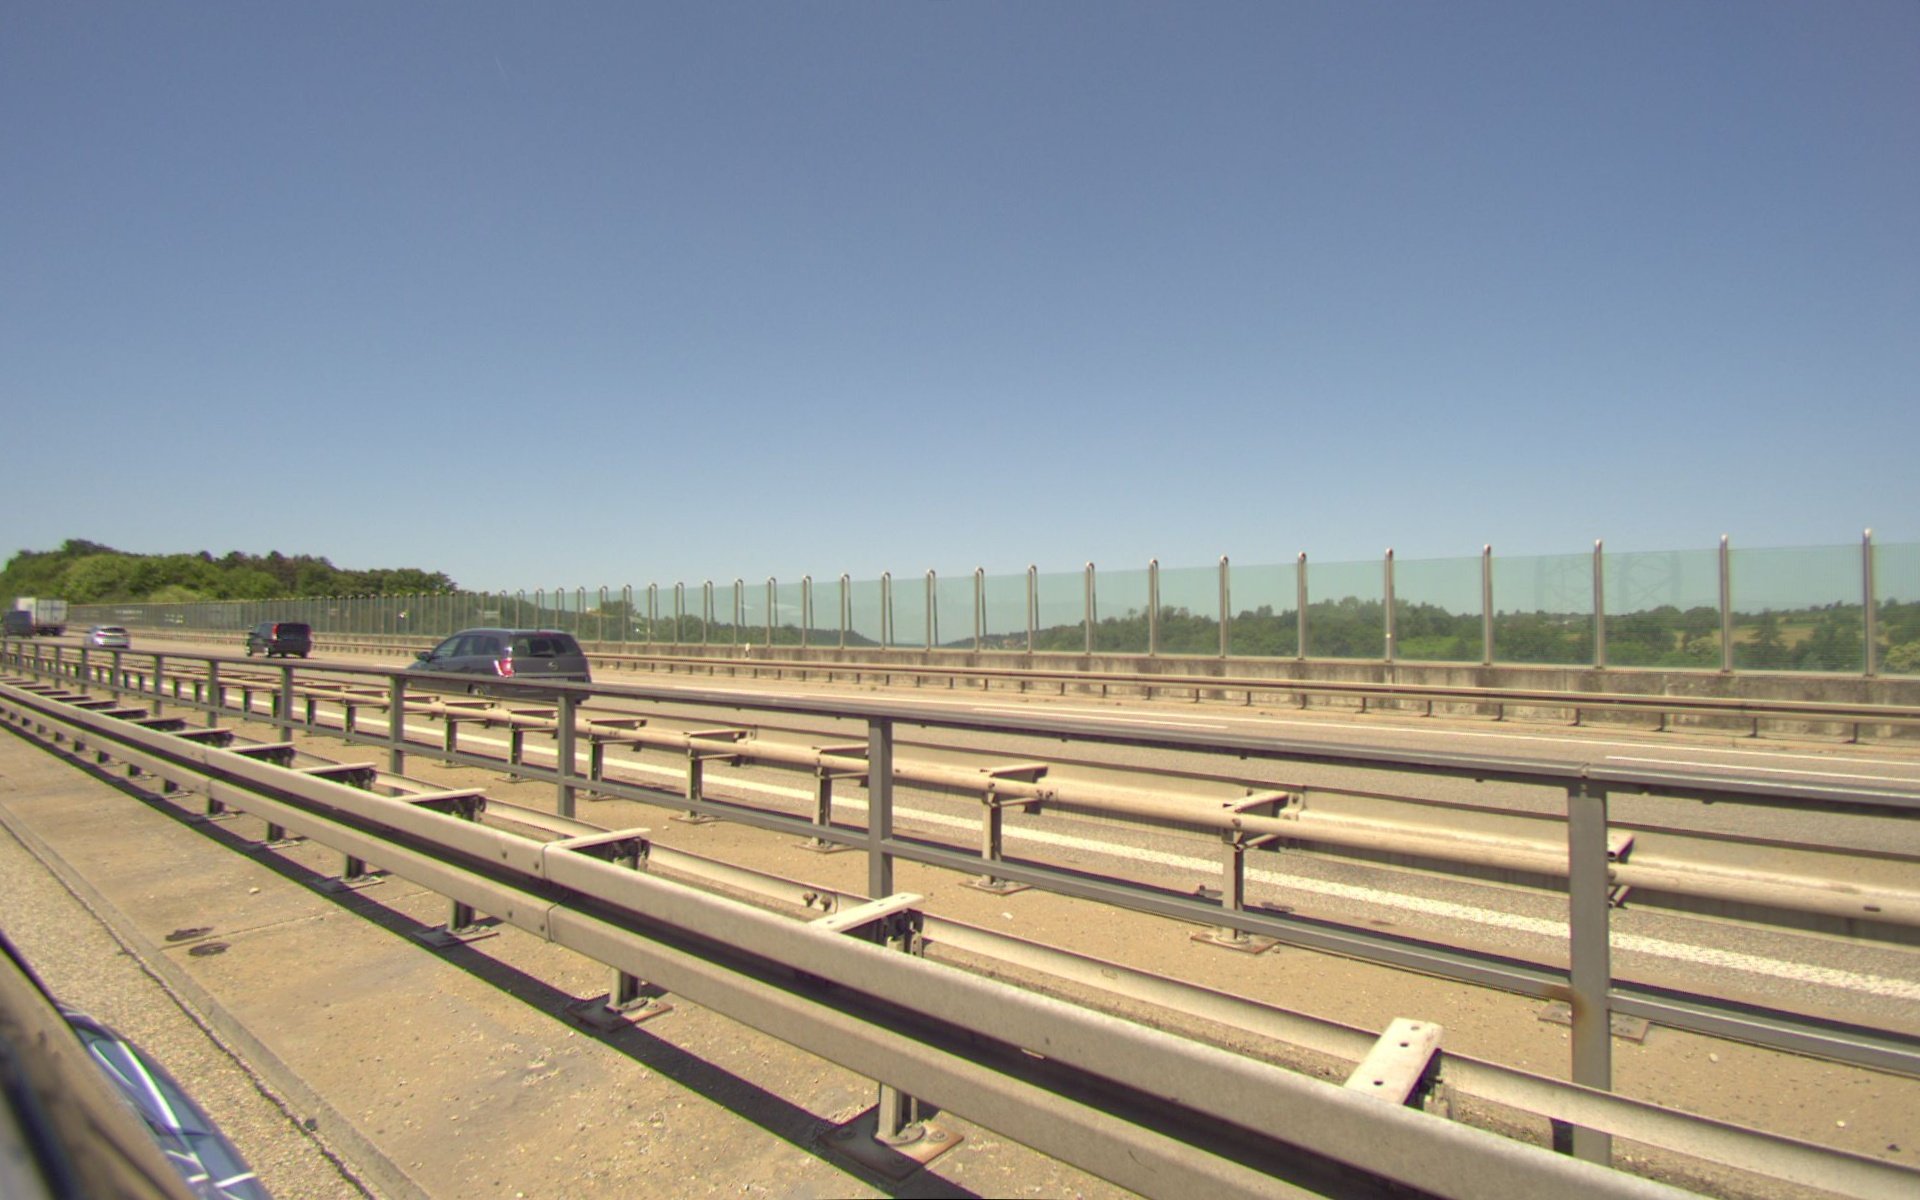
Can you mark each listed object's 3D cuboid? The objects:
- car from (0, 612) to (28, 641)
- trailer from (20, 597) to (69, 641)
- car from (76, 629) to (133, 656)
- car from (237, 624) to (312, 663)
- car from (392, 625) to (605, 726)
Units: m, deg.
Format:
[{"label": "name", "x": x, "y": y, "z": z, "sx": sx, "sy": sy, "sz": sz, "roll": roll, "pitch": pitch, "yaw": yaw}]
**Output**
[{"label": "car", "x": -87.049, "y": 2.400, "z": 92.378, "sx": 6.645, "sy": 2.602, "sz": 1.973, "roll": -1, "pitch": -3, "yaw": 40}, {"label": "trailer", "x": -98.137, "y": 2.035, "z": 108.398, "sx": 13.666, "sy": 4.340, "sz": 2.873, "roll": -1, "pitch": -3, "yaw": 44}, {"label": "car", "x": -51.795, "y": 2.550, "z": 61.236, "sx": 4.383, "sy": 1.556, "sz": 1.972, "roll": -1, "pitch": -3, "yaw": 41}, {"label": "car", "x": -36.314, "y": 2.296, "z": 53.576, "sx": 4.946, "sy": 1.920, "sz": 1.937, "roll": -1, "pitch": -3, "yaw": 40}, {"label": "car", "x": -7.939, "y": 1.197, "z": 17.233, "sx": 4.222, "sy": 1.519, "sz": 1.743, "roll": -1, "pitch": -3, "yaw": 42}]
